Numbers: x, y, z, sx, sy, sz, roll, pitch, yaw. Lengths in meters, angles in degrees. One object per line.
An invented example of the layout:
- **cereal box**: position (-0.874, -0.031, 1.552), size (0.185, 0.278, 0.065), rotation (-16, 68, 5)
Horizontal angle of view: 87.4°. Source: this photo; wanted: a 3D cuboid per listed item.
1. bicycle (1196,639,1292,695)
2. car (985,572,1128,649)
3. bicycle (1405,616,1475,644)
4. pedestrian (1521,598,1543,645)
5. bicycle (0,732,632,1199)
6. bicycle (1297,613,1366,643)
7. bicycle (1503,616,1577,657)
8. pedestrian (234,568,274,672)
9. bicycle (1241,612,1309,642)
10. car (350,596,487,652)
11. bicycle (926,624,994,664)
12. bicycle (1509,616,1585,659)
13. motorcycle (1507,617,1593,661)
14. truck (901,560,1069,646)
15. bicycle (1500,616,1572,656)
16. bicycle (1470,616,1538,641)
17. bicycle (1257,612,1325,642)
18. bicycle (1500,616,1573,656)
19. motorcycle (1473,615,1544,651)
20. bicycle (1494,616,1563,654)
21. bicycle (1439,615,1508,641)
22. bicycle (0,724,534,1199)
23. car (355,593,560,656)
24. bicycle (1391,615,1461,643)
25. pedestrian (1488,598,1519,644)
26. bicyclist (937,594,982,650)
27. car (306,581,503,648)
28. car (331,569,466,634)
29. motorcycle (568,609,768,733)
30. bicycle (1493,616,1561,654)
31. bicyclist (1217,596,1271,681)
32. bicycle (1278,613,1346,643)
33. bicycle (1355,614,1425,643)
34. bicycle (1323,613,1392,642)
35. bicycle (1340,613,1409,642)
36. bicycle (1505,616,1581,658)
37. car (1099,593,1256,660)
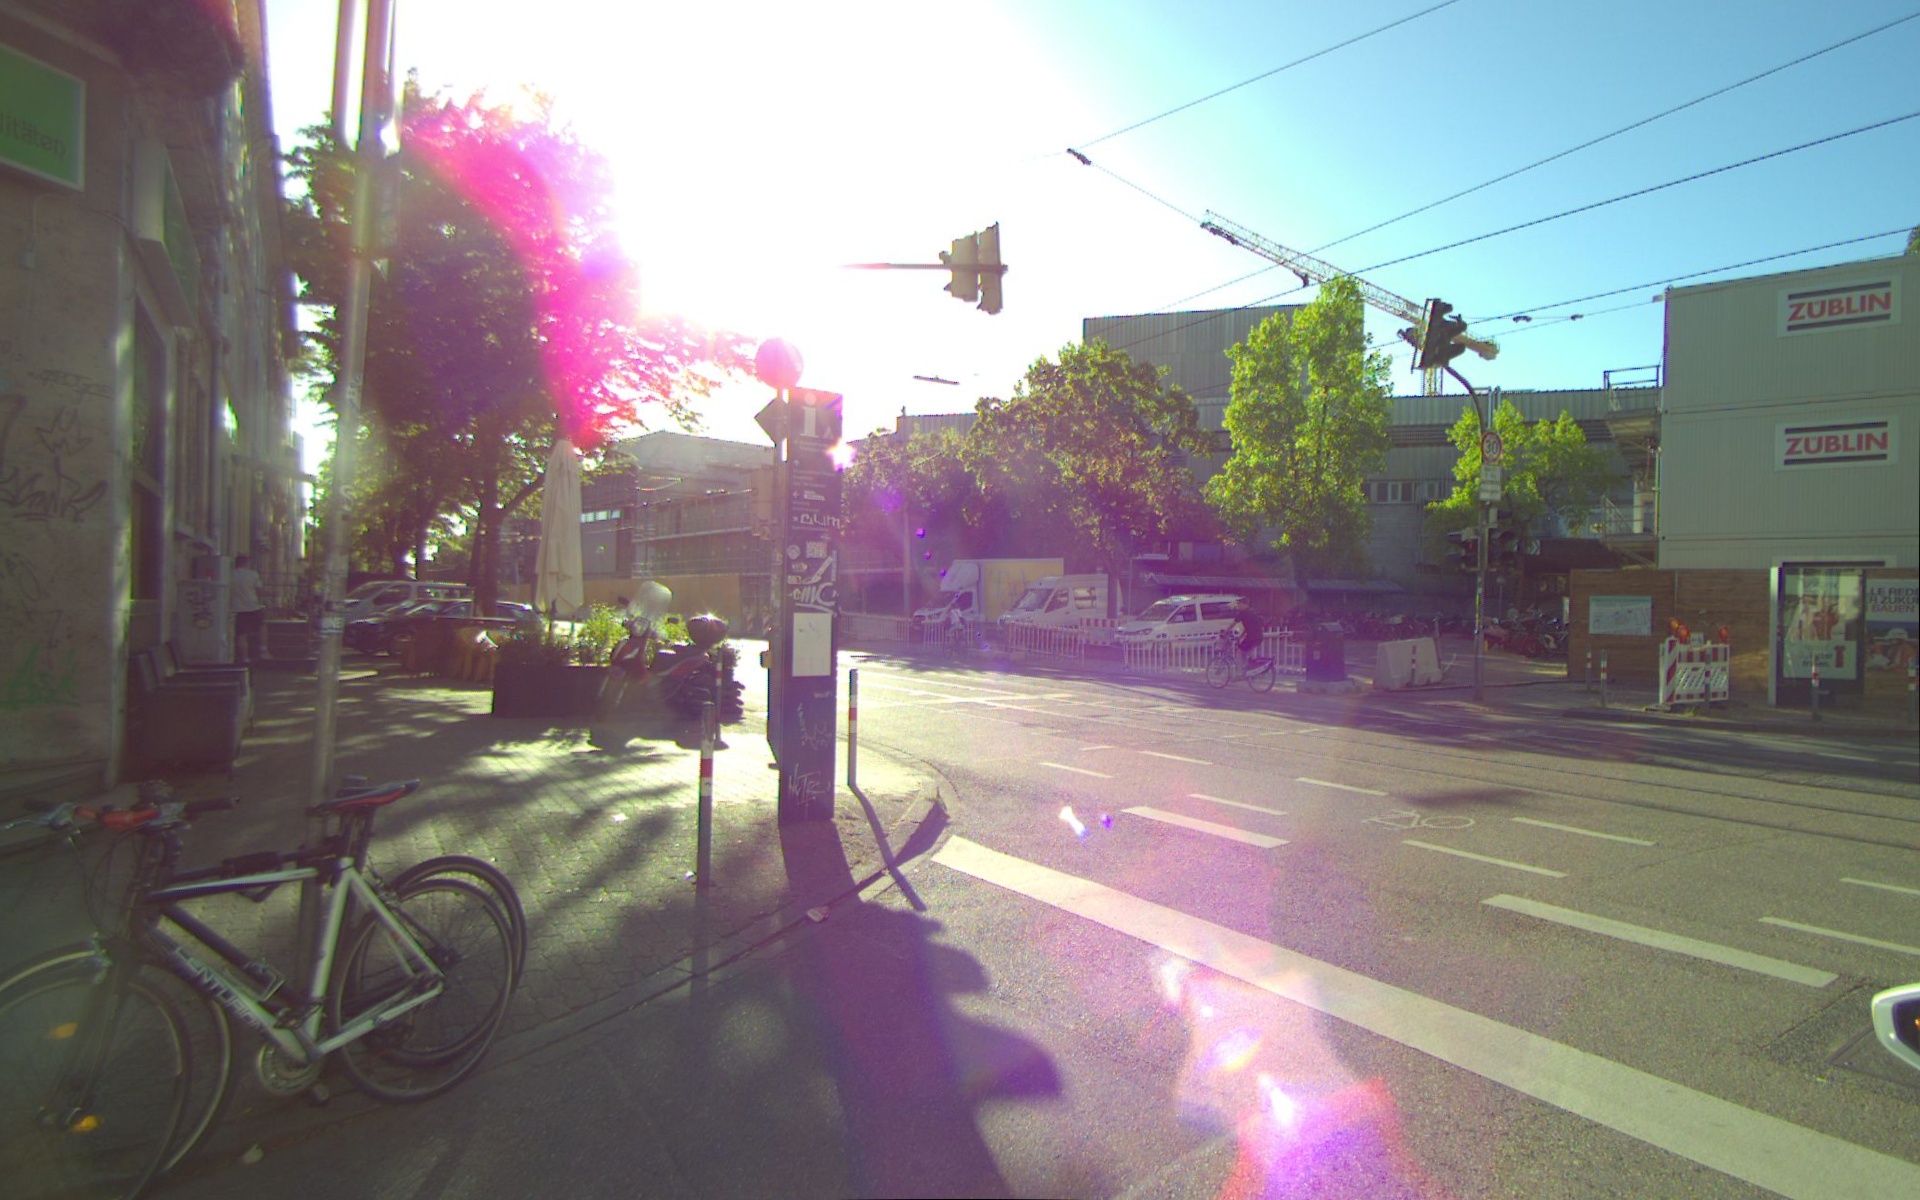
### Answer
- **bicycle**: position (5.738, 1.331, 20.381), size (0.675, 1.032, 1.903), rotation (1, 0, -34)
- **car**: position (3.650, 0.315, 37.443), size (5.328, 2.565, 1.979), rotation (-3, 2, -36)
- **bicycle**: position (21.561, 1.312, 45.226), size (0.810, 1.163, 3.071), rotation (0, 0, -24)
- **pedestrian**: position (25.479, 0.942, 44.720), size (0.789, 2.040, 1.028), rotation (1, 0, 33)
- **bicycle**: position (-1.637, 1.014, 2.673), size (0.449, 1.060, 1.687), rotation (1, 2, 23)
- **bicycle**: position (15.661, 1.171, 42.445), size (0.810, 1.163, 3.071), rotation (0, 0, -24)
- **bicycle**: position (18.708, 1.161, 32.423), size (2.009, 1.274, 0.471), rotation (0, 0, 20)
- **pedestrian**: position (-11.602, 0.316, 16.512), size (0.534, 1.665, 0.564), rotation (0, 1, -36)
- **bicycle**: position (12.827, 1.071, 41.016), size (0.810, 1.163, 3.071), rotation (0, 0, -24)
- **car**: position (-16.579, 0.708, 30.872), size (1.658, 1.523, 3.319), rotation (4, 1, 30)
- **bicycle**: position (-0.018, 1.319, 30.618), size (0.886, 1.107, 2.408), rotation (3, -1, -32)
- **bicycle**: position (18.382, 1.164, 31.497), size (2.009, 1.274, 0.471), rotation (0, 0, 20)
- **motorcycle**: position (17.900, 1.175, 30.509), size (2.168, 1.274, 0.543), rotation (0, 0, 20)
- **truck**: position (1.153, 0.051, 42.536), size (7.044, 3.393, 2.368), rotation (-1, 1, -34)
- **bicycle**: position (19.131, 1.175, 33.400), size (2.009, 1.274, 0.543), rotation (0, 0, 20)
- **bicycle**: position (26.635, 1.386, 49.243), size (0.810, 1.163, 3.071), rotation (0, 0, -24)
- **bicycle**: position (13.658, 1.100, 41.545), size (0.810, 1.163, 3.071), rotation (0, 0, -24)
- **bicycle**: position (18.876, 1.166, 32.908), size (2.009, 1.274, 0.471), rotation (0, 0, 20)
- **motorcycle**: position (19.837, 1.181, 36.363), size (2.168, 1.274, 0.543), rotation (0, 0, 20)
- **bicycle**: position (19.523, 1.188, 34.530), size (2.009, 1.274, 0.543), rotation (0, 0, 20)
- **bicycle**: position (24.264, 1.303, 47.535), size (0.810, 1.163, 3.071), rotation (0, 0, -24)
- **bicycle**: position (-2.048, 0.989, 2.895), size (0.442, 1.060, 1.663), rotation (1, 0, 23)
- **car**: position (-13.125, 0.626, 26.537), size (1.660, 1.510, 4.631), rotation (0, -1, 34)
- **bicycle**: position (20.749, 1.284, 44.784), size (0.810, 1.163, 3.071), rotation (0, 0, -24)
- **pedestrian**: position (24.421, 0.934, 45.115), size (0.925, 2.040, 0.799), rotation (0, 0, -23)
- **bicyclist**: position (-0.028, 0.661, 30.671), size (0.886, 1.661, 1.090), rotation (2, -1, -33)
- **car**: position (-18.040, 0.456, 32.926), size (2.004, 2.018, 5.334), rotation (1, 0, 33)
- **car**: position (-26.242, 0.120, 47.017), size (5.151, 2.611, 2.222), rotation (5, -3, -37)
- **motorcycle**: position (-3.541, 0.860, 12.495), size (0.982, 1.368, 2.419), rotation (0, -3, 26)
- **bicycle**: position (19.775, 1.197, 35.070), size (2.009, 1.274, 0.543), rotation (0, 0, 20)
- **bicyclist**: position (5.749, 0.757, 20.365), size (0.675, 1.680, 0.804), rotation (1, 0, -34)
- **bicycle**: position (14.676, 1.136, 42.049), size (0.810, 1.163, 3.071), rotation (0, 0, -24)
- **bicycle**: position (18.773, 1.214, 43.940), size (0.810, 1.163, 3.071), rotation (0, 0, -24)
- **bicycle**: position (17.037, 1.153, 43.153), size (0.810, 1.163, 3.071), rotation (0, 0, -24)
- **bicycle**: position (17.956, 1.185, 43.603), size (0.810, 1.163, 3.071), rotation (0, 0, -24)
- **bicycle**: position (18.523, 1.155, 31.955), size (2.009, 1.274, 0.471), rotation (0, 0, 20)
- **car**: position (7.048, 0.795, 32.451), size (4.885, 1.918, 1.996), rotation (-1, 1, -28)
